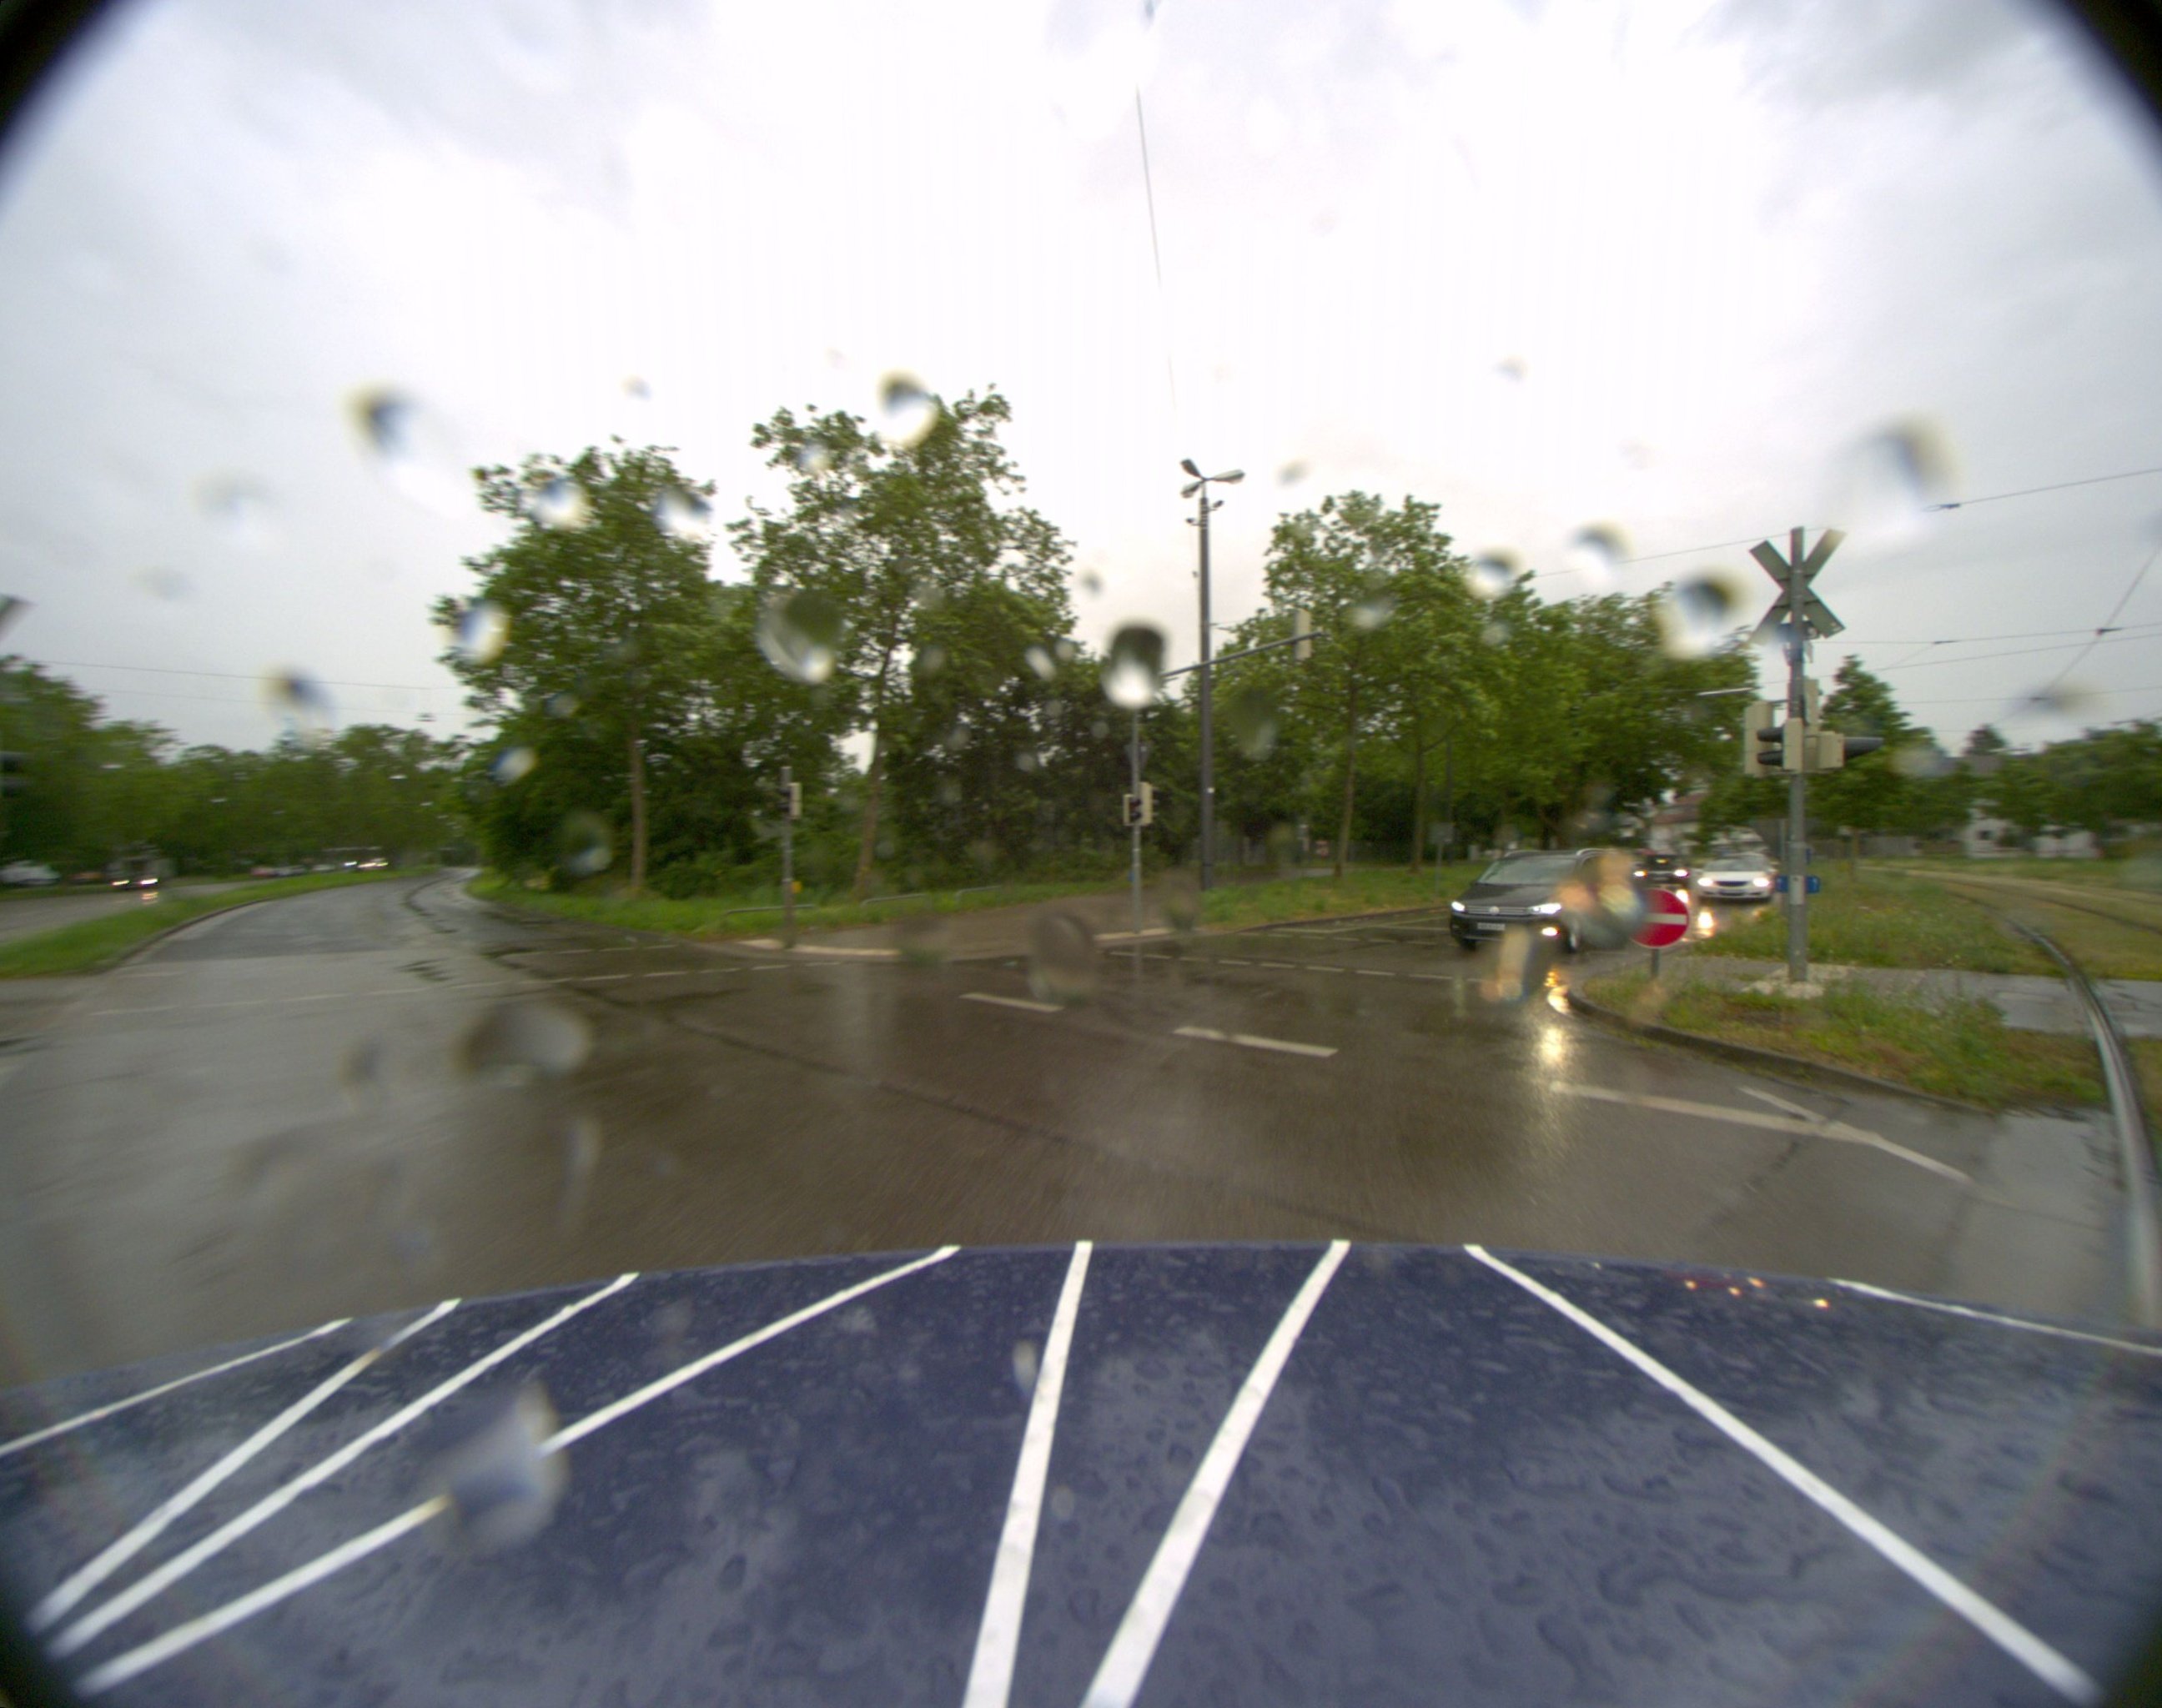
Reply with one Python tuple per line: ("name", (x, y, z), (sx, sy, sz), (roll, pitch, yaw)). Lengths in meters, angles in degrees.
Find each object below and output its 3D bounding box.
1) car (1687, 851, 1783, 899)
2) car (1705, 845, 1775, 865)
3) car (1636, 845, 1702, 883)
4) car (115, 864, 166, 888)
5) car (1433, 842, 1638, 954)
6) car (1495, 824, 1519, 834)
("car", (20.929, 0.622, 24.255), (4.006, 1.355, 1.784), (-1, -1, -42))
("car", (51.632, 0.105, 59.656), (4.034, 1.411, 1.679), (-2, 0, 37))
("car", (26.660, 0.449, 34.422), (1.868, 1.608, 3.817), (-2, -1, 45))
("car", (-67.869, 1.595, 54.898), (3.989, 1.630, 2.004), (-2, -1, 43))
("car", (8.064, 0.643, 13.281), (4.534, 1.592, 1.862), (-1, -1, -43))
("car", (86.473, -5.069, 154.215), (3.991, 1.816, 2.003), (-2, 0, 23))
